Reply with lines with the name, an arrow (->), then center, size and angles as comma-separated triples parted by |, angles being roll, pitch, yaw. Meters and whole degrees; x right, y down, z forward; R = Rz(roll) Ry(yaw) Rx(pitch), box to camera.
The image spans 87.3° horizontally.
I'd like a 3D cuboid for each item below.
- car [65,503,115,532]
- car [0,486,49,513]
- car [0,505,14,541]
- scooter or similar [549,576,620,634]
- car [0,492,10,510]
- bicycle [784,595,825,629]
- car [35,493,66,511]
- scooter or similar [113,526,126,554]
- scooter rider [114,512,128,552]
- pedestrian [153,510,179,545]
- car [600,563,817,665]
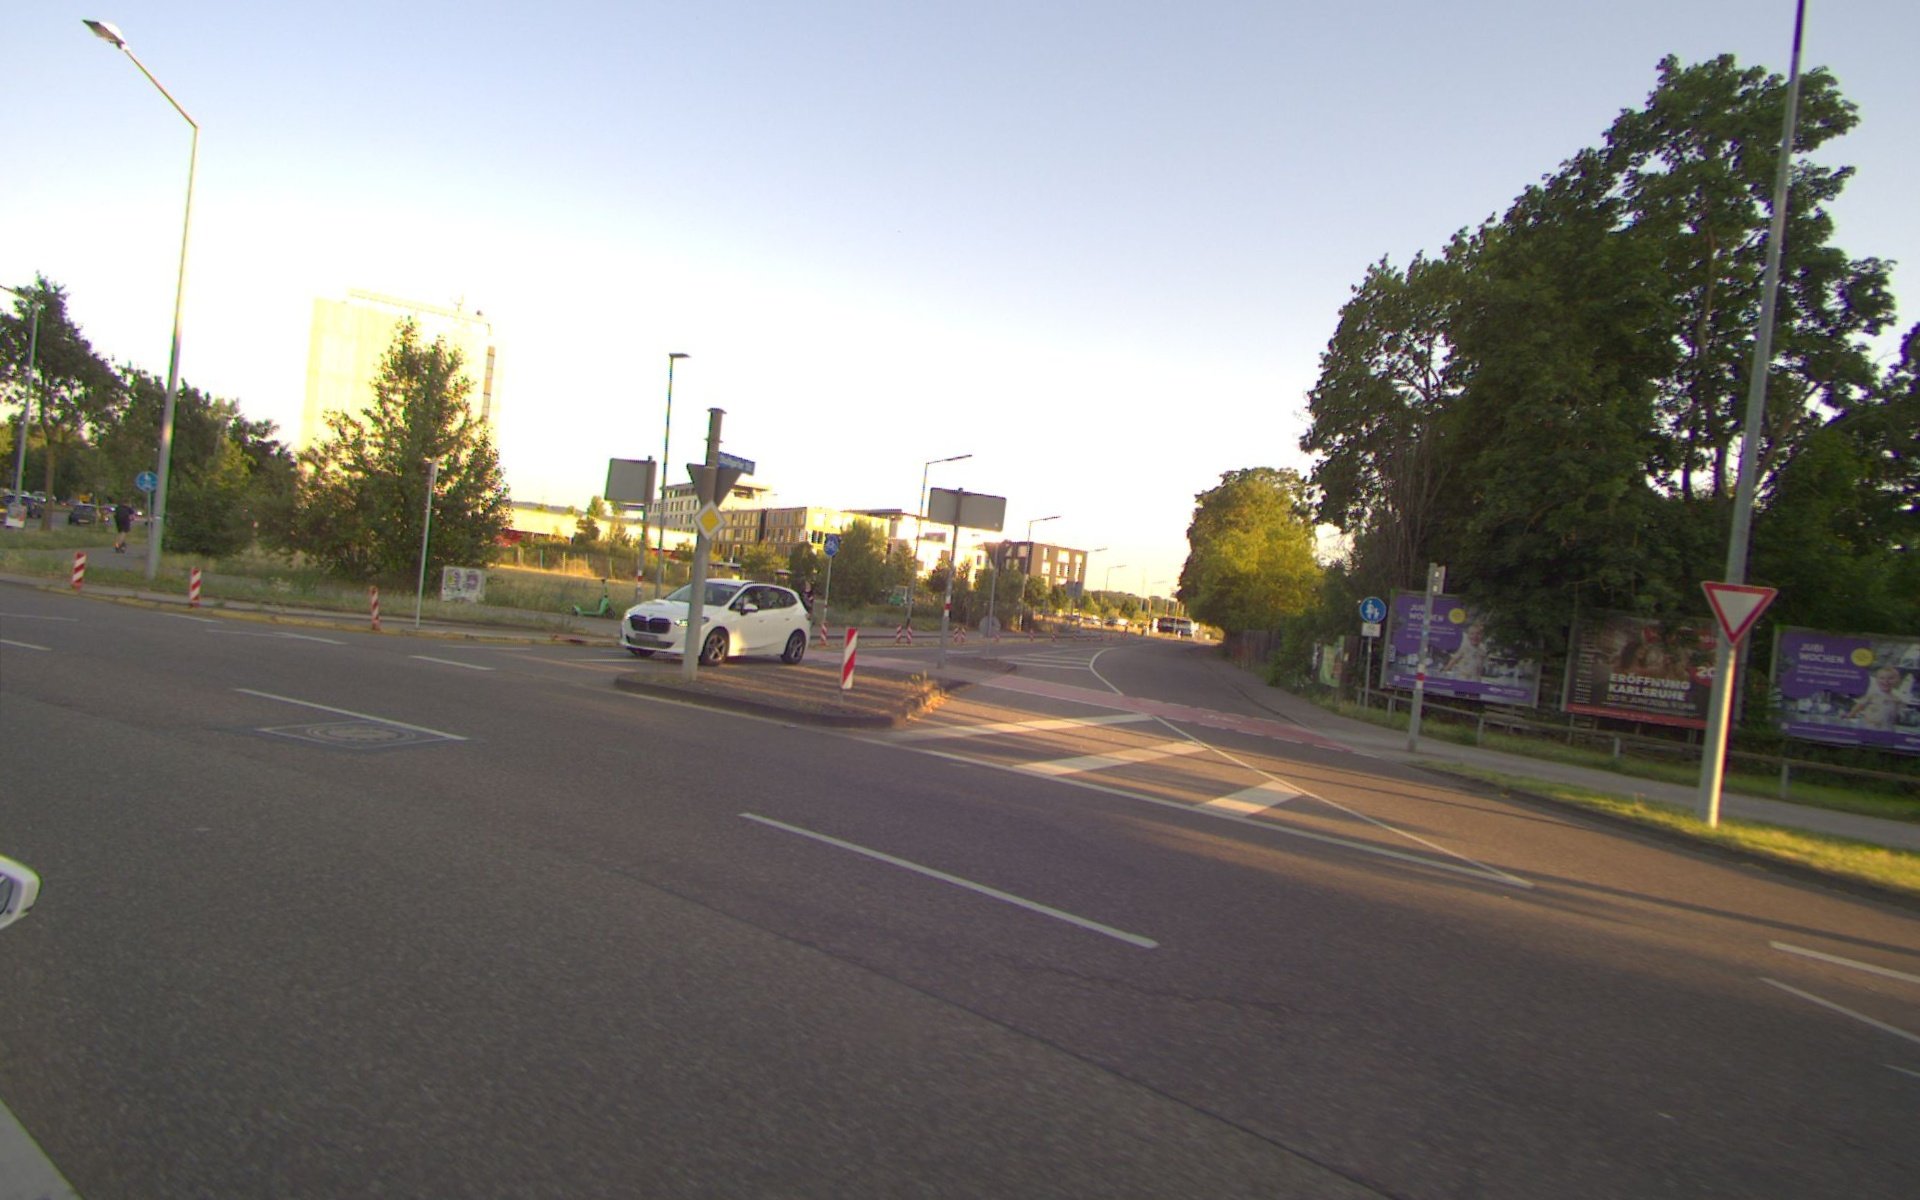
car -> -58.705, -5.554, 67.942 | 1.894, 1.638, 3.963 | 7, 0, -34
car -> -64.081, -6.867, 68.748 | 1.981, 1.489, 3.963 | 7, 0, -34
car -> -45.214, -3.695, 46.729 | 1.740, 1.507, 4.083 | 7, 0, -43
scooter or similar -> -8.678, 0.115, 23.250 | 1.357, 1.177, 0.442 | 7, 1, 3
car -> -98.588, -10.210, 102.392 | 1.784, 1.653, 4.419 | 5, 0, -32
bicycle -> -5.676, 0.448, 36.834 | 1.354, 1.102, 0.279 | 7, 1, -22
car -> -106.244, -11.425, 117.513 | 1.903, 1.777, 4.877 | 5, 0, -34
scooter or similar -> -29.362, -2.092, 35.139 | 0.245, 0.925, 1.026 | 6, 1, -43
scooter rider -> -29.329, -2.373, 35.173 | 0.263, 1.356, 0.401 | 6, 1, -43
pedestrian -> -37.863, -3.456, 47.989 | 0.788, 1.569, 0.563 | 6, 1, -32
car -> -4.623, 0.332, 19.146 | 1.856, 1.577, 4.094 | 6, -1, 22
